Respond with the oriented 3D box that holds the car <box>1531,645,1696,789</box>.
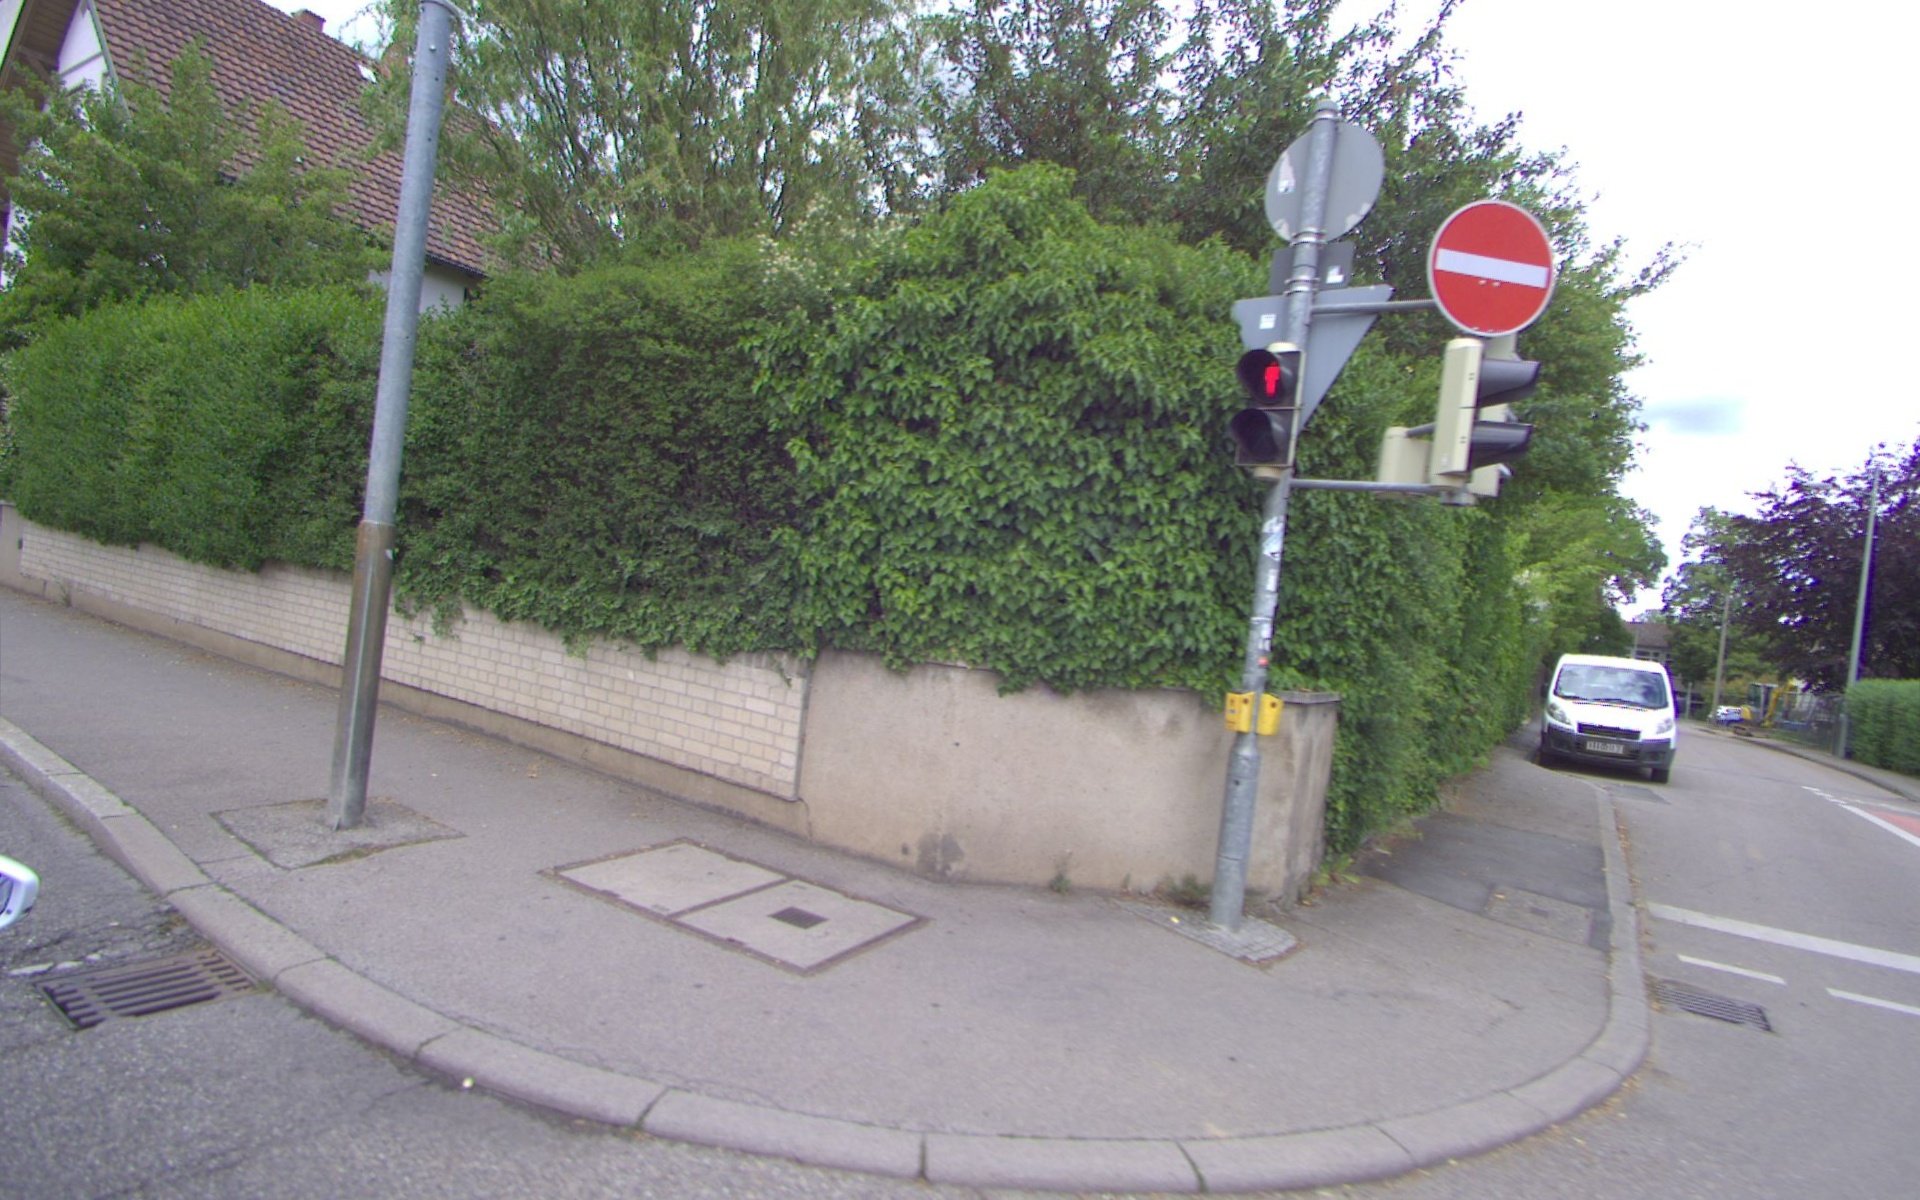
[{"bbox_3d":[11.269,1.922,17.680,1.966,1.930,4.895,7,0,30],"label":"car"}]
